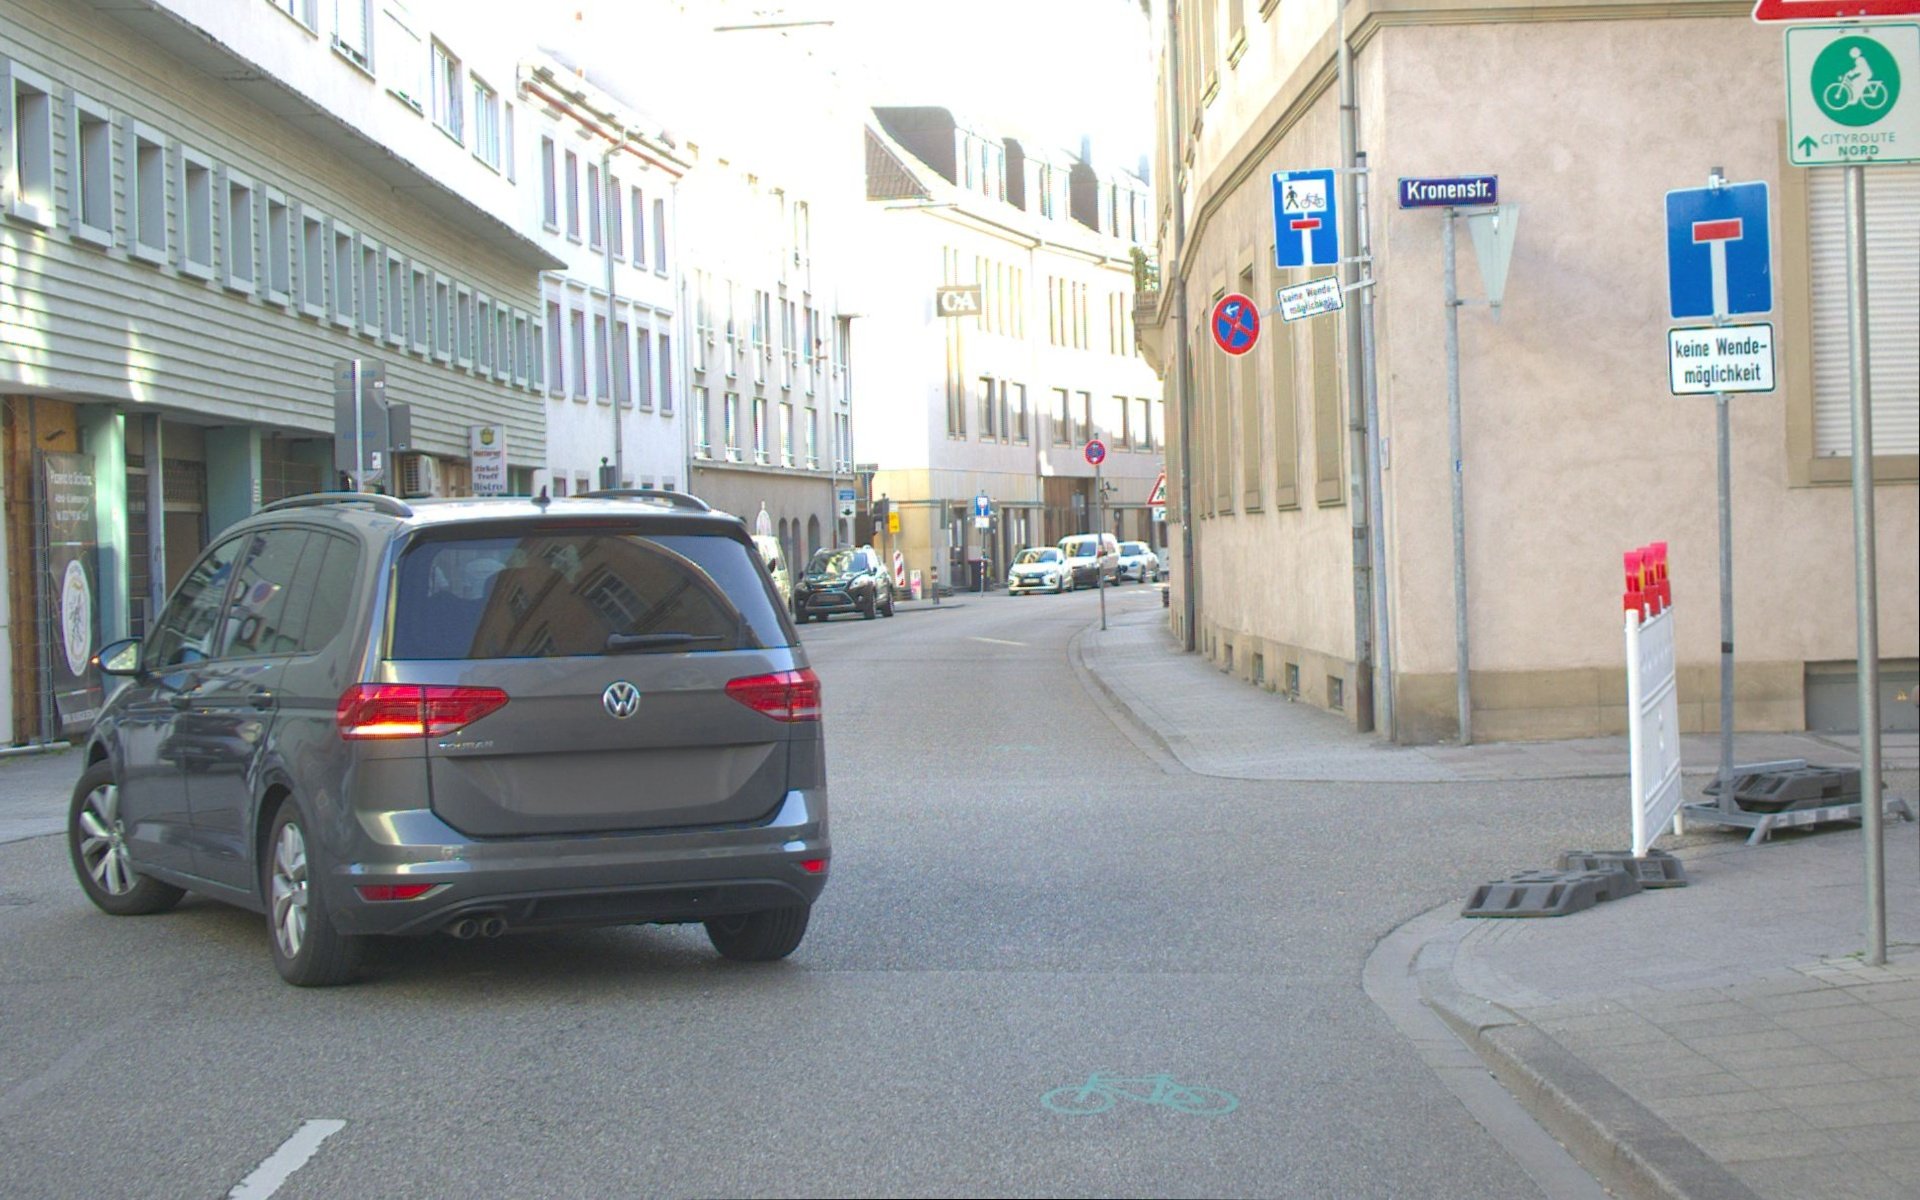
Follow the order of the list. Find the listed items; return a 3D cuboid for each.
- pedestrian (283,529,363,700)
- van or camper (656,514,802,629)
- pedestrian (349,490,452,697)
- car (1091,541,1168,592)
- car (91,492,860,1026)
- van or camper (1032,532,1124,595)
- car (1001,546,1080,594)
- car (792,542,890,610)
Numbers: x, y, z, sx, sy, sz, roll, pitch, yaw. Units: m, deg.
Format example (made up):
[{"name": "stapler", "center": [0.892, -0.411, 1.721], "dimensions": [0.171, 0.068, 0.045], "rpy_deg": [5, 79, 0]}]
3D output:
[{"name": "pedestrian", "center": [-6.896, 0.154, 37.229], "dimensions": [0.728, 1.823, 0.557], "rpy_deg": [-1, 1, -1]}, {"name": "van or camper", "center": [-4.206, -0.544, 63.358], "dimensions": [1.994, 2.007, 4.482], "rpy_deg": [-1, 1, 5]}, {"name": "pedestrian", "center": [-5.002, -0.060, 30.758], "dimensions": [0.556, 1.823, 0.730], "rpy_deg": [-1, 1, 23]}, {"name": "car", "center": [6.029, -1.213, 121.943], "dimensions": [1.827, 1.720, 3.997], "rpy_deg": [-1, 1, 16]}, {"name": "car", "center": [-1.925, 0.437, 12.481], "dimensions": [1.761, 1.601, 4.001], "rpy_deg": [0, 1, -23]}, {"name": "van or camper", "center": [4.011, -1.252, 115.628], "dimensions": [1.995, 2.007, 4.995], "rpy_deg": [-1, 1, 15]}, {"name": "car", "center": [2.595, -0.974, 109.880], "dimensions": [1.735, 1.463, 3.998], "rpy_deg": [-1, 1, 13]}, {"name": "car", "center": [-2.722, -0.575, 79.562], "dimensions": [1.866, 1.463, 3.833], "rpy_deg": [-1, 1, 4]}]
